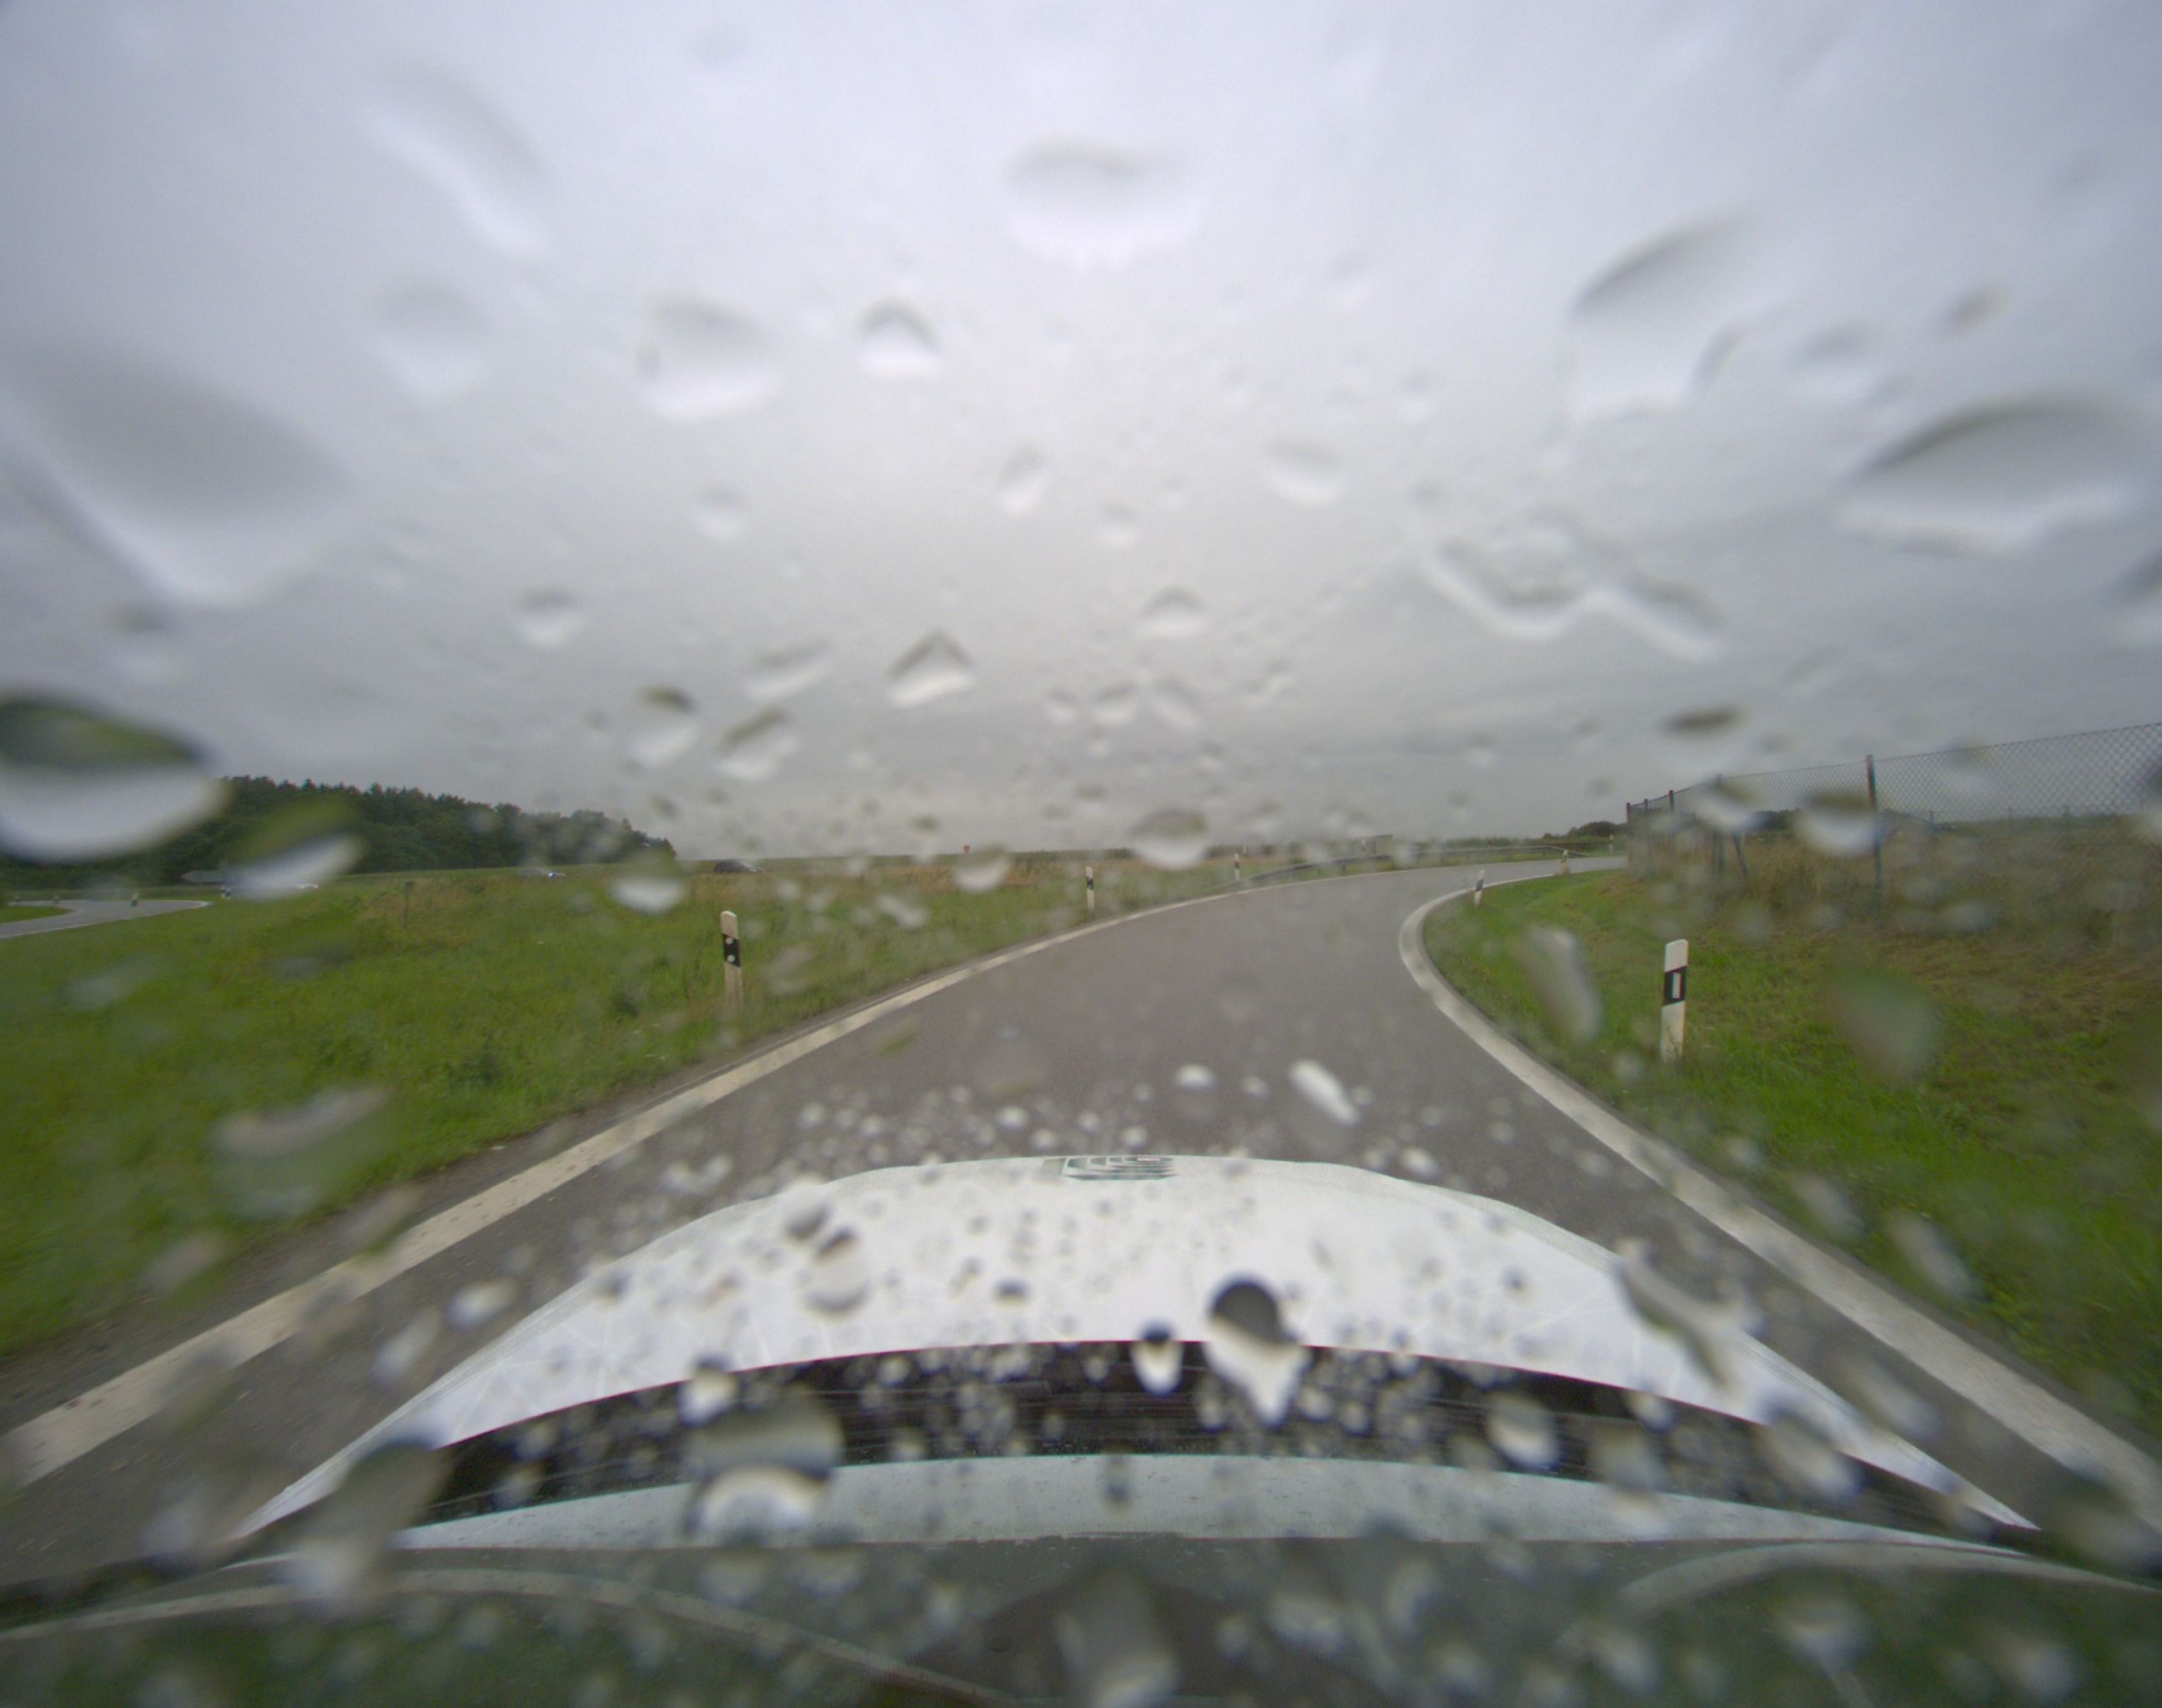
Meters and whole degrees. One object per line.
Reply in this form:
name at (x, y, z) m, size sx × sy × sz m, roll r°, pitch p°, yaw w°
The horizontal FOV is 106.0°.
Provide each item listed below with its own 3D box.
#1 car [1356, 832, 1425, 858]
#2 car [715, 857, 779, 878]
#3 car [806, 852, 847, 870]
car at (21.585, -0.619, 56.940) m, size 4.303 × 1.636 × 2.068 m, roll -2°, pitch 0°, yaw 15°
car at (-28.092, 1.123, 68.508) m, size 4.546 × 1.636 × 2.161 m, roll -1°, pitch 1°, yaw 15°
car at (-28.716, 0.777, 91.855) m, size 3.961 × 1.736 × 1.741 m, roll -3°, pitch 1°, yaw 11°
